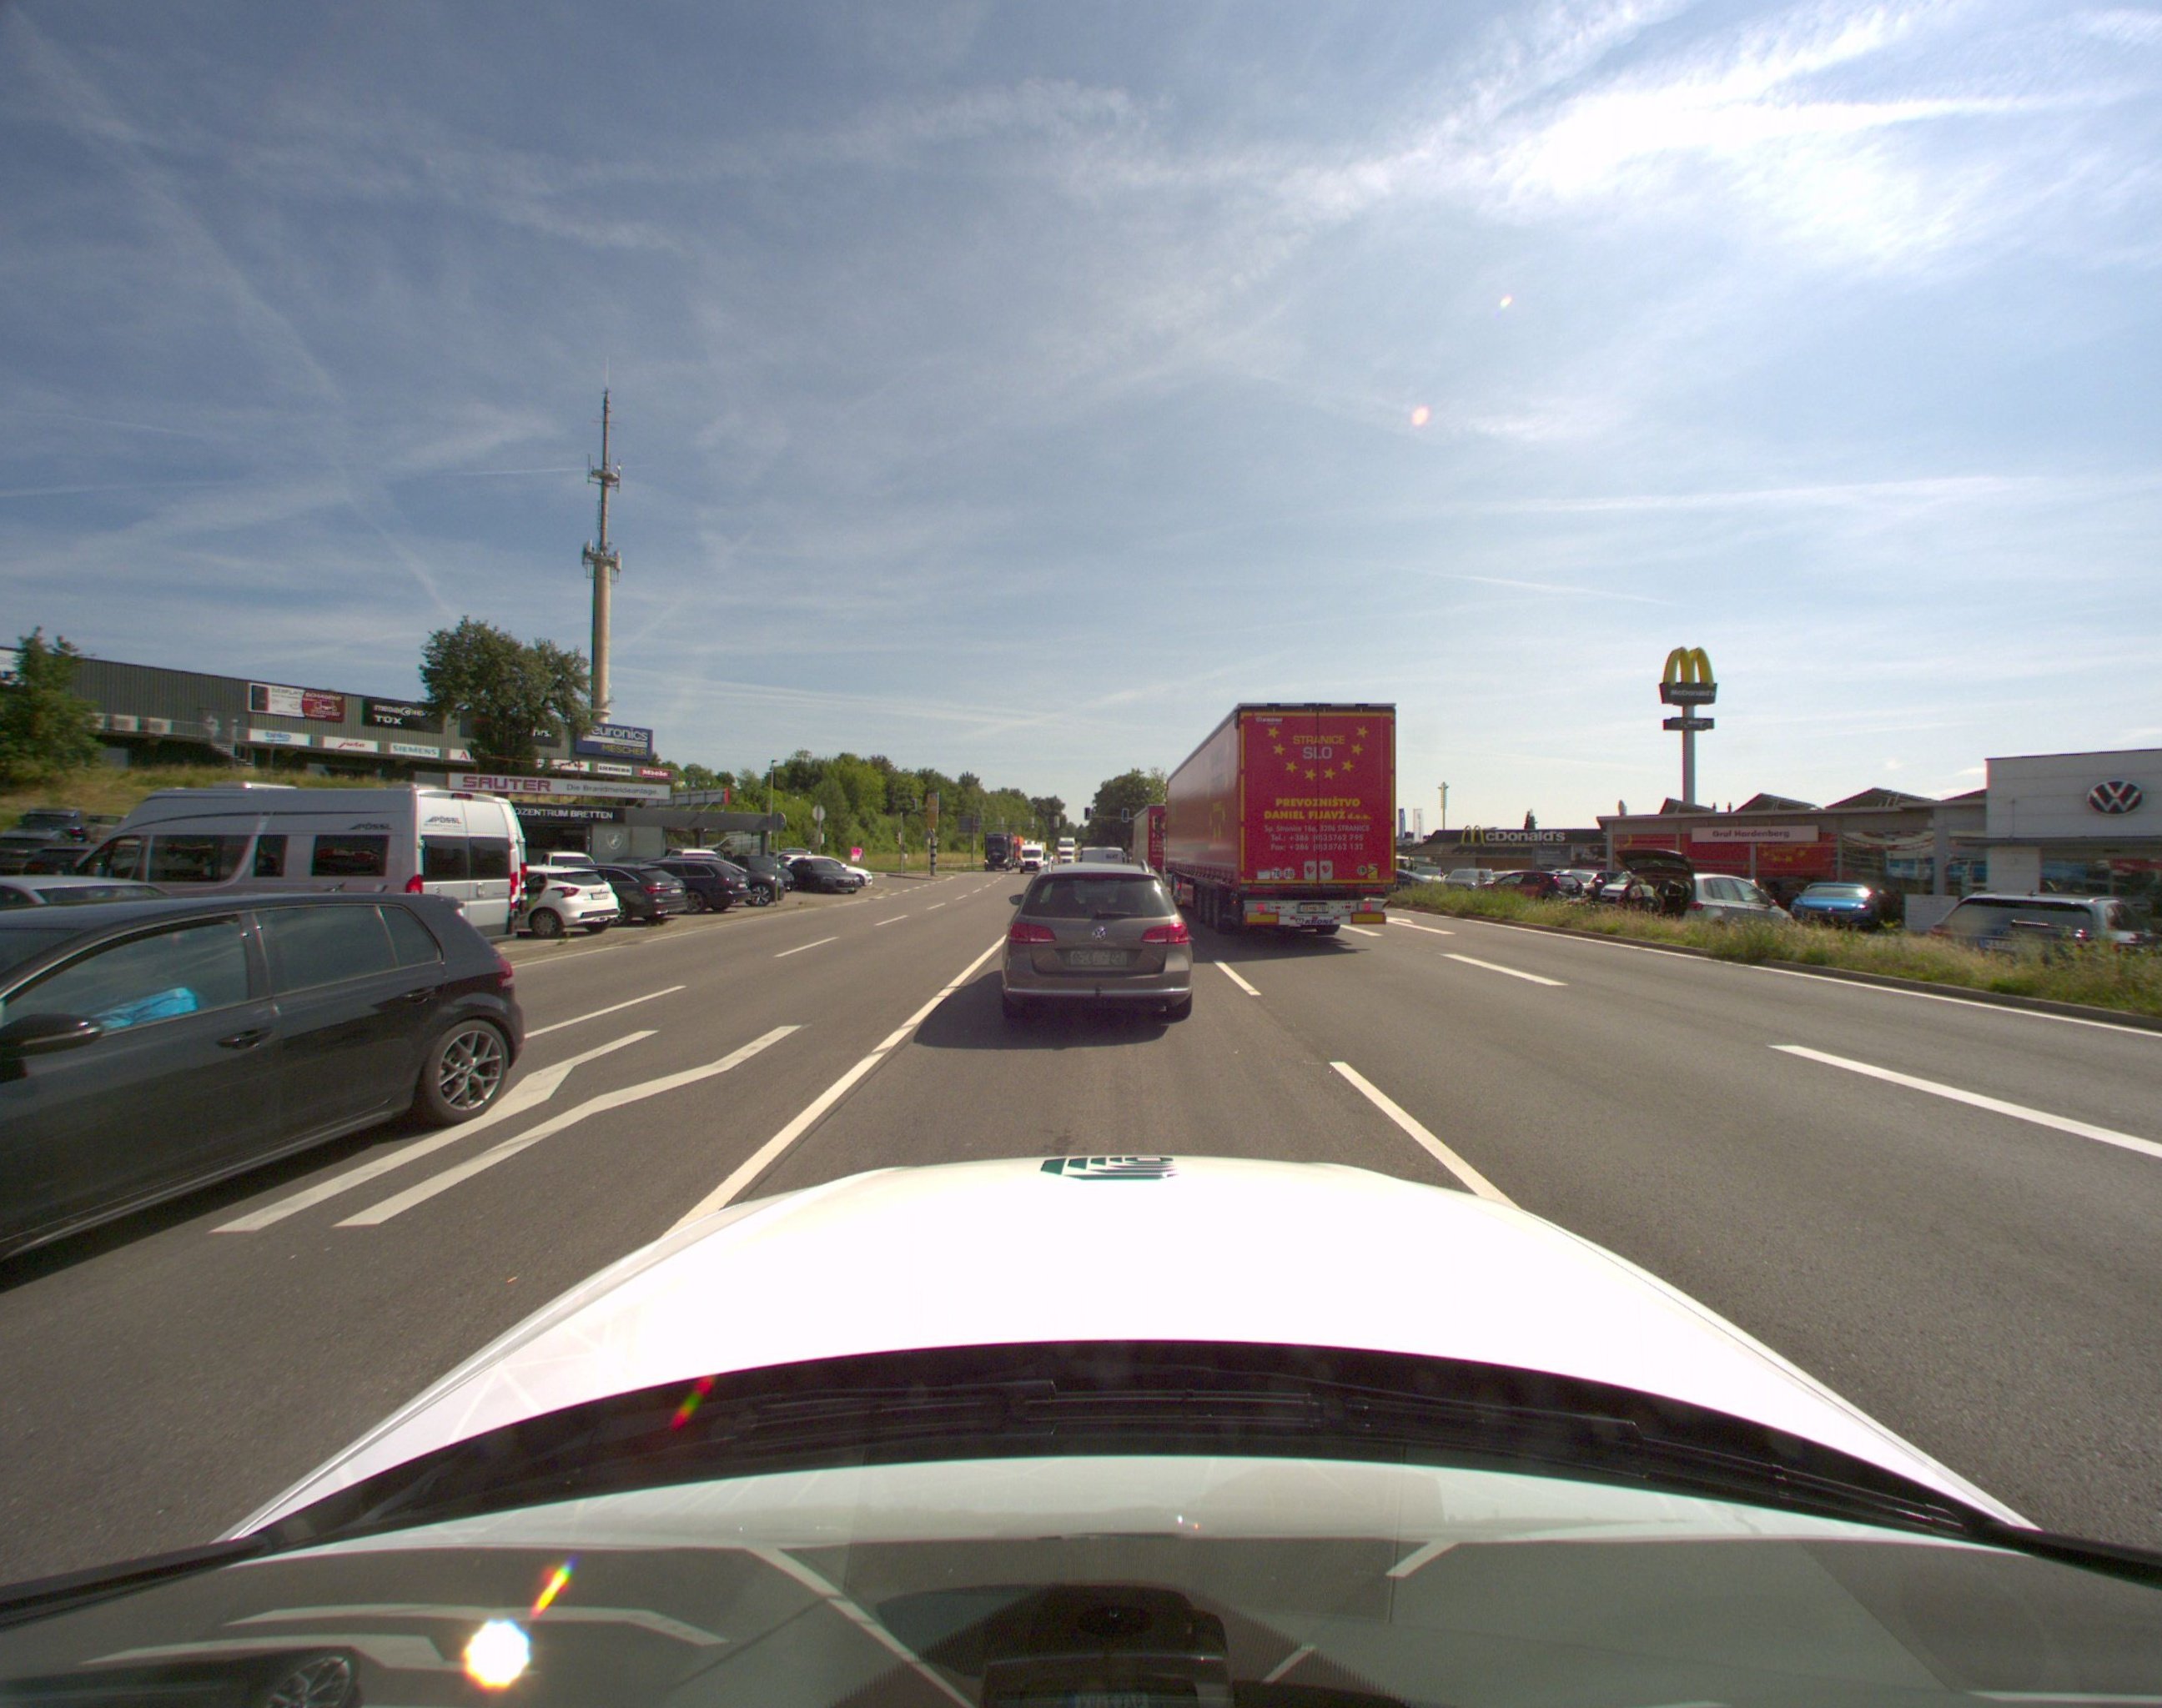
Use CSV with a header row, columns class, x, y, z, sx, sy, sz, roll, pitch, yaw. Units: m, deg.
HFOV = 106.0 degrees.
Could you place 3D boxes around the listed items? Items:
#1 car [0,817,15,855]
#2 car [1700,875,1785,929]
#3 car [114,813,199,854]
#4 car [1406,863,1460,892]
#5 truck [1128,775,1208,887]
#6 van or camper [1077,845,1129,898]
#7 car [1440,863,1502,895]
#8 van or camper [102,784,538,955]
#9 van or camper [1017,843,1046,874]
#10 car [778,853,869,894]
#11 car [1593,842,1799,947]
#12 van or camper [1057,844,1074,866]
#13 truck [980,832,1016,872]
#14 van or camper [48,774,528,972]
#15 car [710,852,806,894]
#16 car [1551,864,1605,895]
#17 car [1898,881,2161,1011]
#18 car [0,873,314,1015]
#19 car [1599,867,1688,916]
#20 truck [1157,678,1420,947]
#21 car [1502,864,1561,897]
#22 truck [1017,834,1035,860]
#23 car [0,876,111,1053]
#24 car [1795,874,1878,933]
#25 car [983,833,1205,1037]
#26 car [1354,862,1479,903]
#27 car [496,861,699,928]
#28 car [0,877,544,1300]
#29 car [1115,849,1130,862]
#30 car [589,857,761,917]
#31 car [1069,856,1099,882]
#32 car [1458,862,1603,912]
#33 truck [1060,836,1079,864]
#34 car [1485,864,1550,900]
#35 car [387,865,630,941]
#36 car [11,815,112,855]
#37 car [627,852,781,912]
class,x,y,z,sx,sy,sz,roll,pitch,yaw
car,-41.939,-0.709,30.419,1.745,1.450,3.705,1,-1,-40
car,21.873,1.501,26.870,1.781,1.531,4.251,0,0,44
car,-38.302,-0.811,33.832,1.745,1.537,3.705,1,-1,-40
car,20.020,1.284,46.231,1.743,1.531,3.285,0,0,45
truck,4.537,-1.065,46.365,3.051,5.220,17.010,0,0,1
van or camper,0.814,0.647,31.265,1.846,1.906,3.785,0,0,0
car,19.761,1.233,41.199,1.747,1.531,3.651,0,0,45
van or camper,-13.655,0.256,14.911,5.869,2.873,2.291,0,0,2
van or camper,-4.139,0.401,69.015,2.166,2.551,4.170,0,0,0
car,-11.491,0.828,36.195,2.143,1.693,4.473,-1,0,-43
car,12.466,0.744,16.511,3.851,1.921,1.689,0,0,-24
van or camper,-2.106,0.177,112.876,2.216,2.841,5.711,0,-1,1
truck,-8.394,-0.190,83.188,2.804,3.786,6.989,-2,0,0
van or camper,-11.826,0.274,12.455,5.225,2.731,2.212,0,0,2
car,-13.775,0.790,34.718,3.780,1.693,1.854,-1,0,30
car,26.349,1.321,43.174,1.666,1.531,3.618,0,0,44
car,13.142,1.110,10.809,3.844,1.399,1.692,0,0,-18
car,-11.923,1.026,9.845,3.580,1.480,1.813,-1,0,2
car,20.098,1.272,29.039,1.975,1.531,4.023,0,0,45
truck,4.068,-0.651,21.215,2.946,4.269,16.587,0,0,1
car,22.478,1.285,40.545,1.666,1.531,3.618,0,0,44
truck,-8.552,-1.074,127.296,2.527,3.786,6.982,-2,0,-3
car,-11.398,0.916,7.090,3.696,1.484,1.707,3,0,-1
car,23.248,1.457,25.022,3.808,1.557,1.682,0,0,-44
car,0.234,0.676,8.386,1.782,1.638,3.508,-1,0,4
car,13.087,1.074,31.946,4.148,1.455,1.858,0,0,43
car,-11.674,0.947,19.854,3.804,1.448,1.843,-1,1,0
car,-4.600,0.886,3.620,1.659,1.409,3.928,-2,0,2
car,5.006,0.187,98.419,1.721,1.519,3.312,0,-1,1
car,-11.201,0.891,22.660,3.804,1.539,1.842,-1,0,0
car,0.175,0.891,48.775,1.721,1.519,3.311,0,-1,0
car,15.377,1.059,28.070,2.005,1.531,3.964,0,0,-28
truck,-1.765,-0.610,127.582,2.544,4.307,7.597,-2,0,1
car,19.901,1.232,37.044,1.666,1.531,3.618,0,0,44
car,-11.973,0.998,17.230,3.804,1.448,1.842,-1,0,0
car,-39.954,-0.704,32.013,1.745,1.450,3.705,1,-1,-40
car,-11.406,0.823,24.823,3.804,1.675,1.842,-1,0,0
